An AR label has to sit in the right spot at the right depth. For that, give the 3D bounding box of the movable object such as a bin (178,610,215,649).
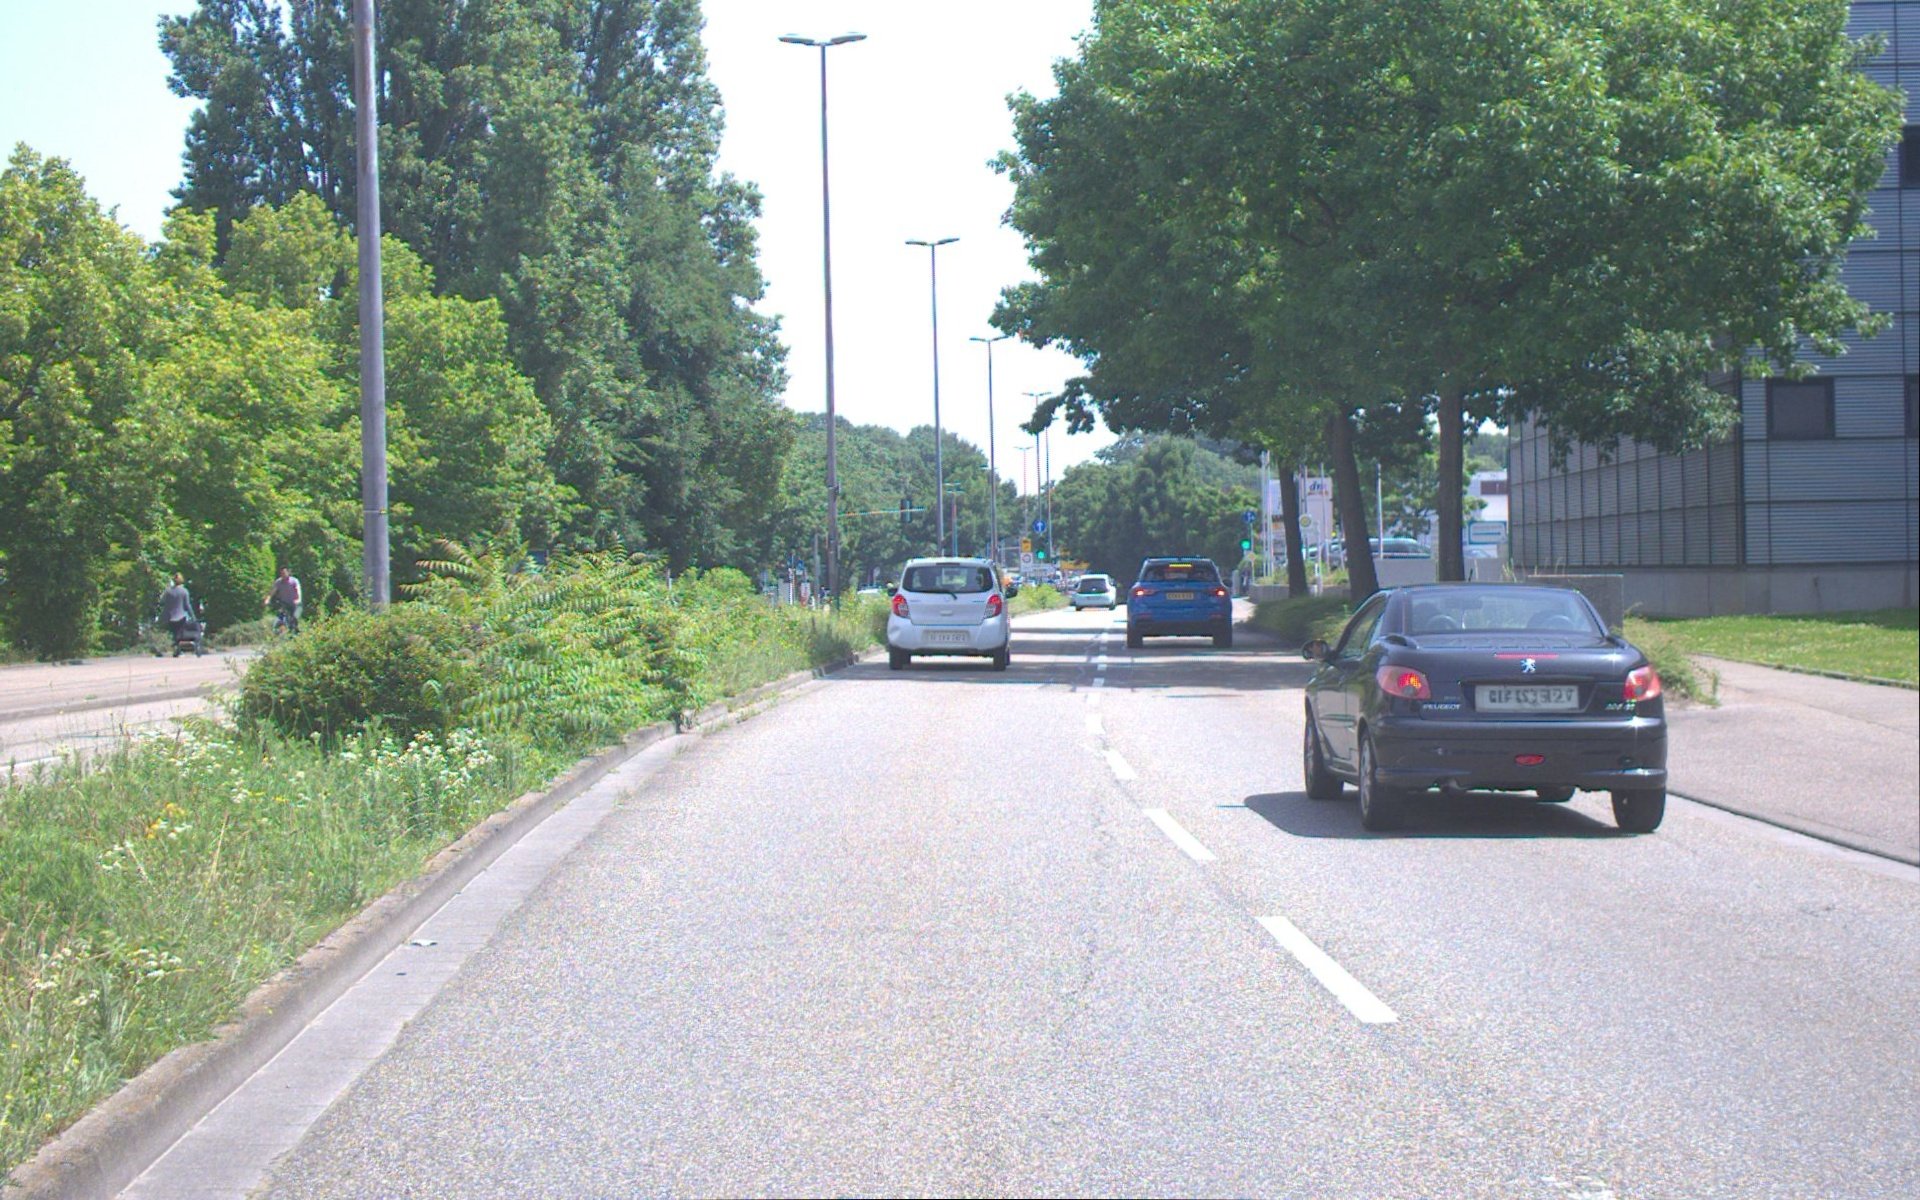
[{"bbox_3d":[-14.086,0.537,63.456,0.428,0.703,0.652,-2,0,11],"label":"movable object such as a bin"}]

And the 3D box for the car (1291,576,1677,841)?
[{"bbox_3d":[2.960,0.563,20.070,1.627,1.359,3.606,0,1,-1],"label":"car"}]

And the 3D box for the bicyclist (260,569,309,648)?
[{"bbox_3d":[-13.047,0.157,66.461,0.717,1.511,1.027,-2,0,-1],"label":"bicyclist"}]

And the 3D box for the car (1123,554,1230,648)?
[{"bbox_3d":[3.883,-0.008,61.475,1.828,1.575,3.605,-1,1,4],"label":"car"}]

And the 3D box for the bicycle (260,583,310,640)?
[{"bbox_3d":[-13.051,0.215,66.505,0.550,1.069,2.063,0,0,0],"label":"bicycle"}]

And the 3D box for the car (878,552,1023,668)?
[{"bbox_3d":[-0.091,0.111,47.776,1.748,1.515,3.745,0,1,4],"label":"car"}]

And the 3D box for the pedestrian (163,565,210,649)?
[{"bbox_3d":[-14.361,0.125,63.850,0.633,1.539,0.727,-2,0,2],"label":"pedestrian"}]

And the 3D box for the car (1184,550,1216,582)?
[{"bbox_3d":[15.706,-2.229,225.110,1.770,2.007,3.991,-2,1,-1],"label":"car"}]

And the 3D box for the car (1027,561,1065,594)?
[{"bbox_3d":[4.641,-1.220,186.265,1.819,1.656,4.001,-1,1,-1],"label":"car"}]

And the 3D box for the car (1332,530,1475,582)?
[{"bbox_3d":[14.720,-1.460,114.207,4.499,1.577,2.000,-2,0,2],"label":"car"}]

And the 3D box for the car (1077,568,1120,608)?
[{"bbox_3d":[5.996,-0.514,149.231,1.819,1.656,4.000,-1,1,2],"label":"car"}]
